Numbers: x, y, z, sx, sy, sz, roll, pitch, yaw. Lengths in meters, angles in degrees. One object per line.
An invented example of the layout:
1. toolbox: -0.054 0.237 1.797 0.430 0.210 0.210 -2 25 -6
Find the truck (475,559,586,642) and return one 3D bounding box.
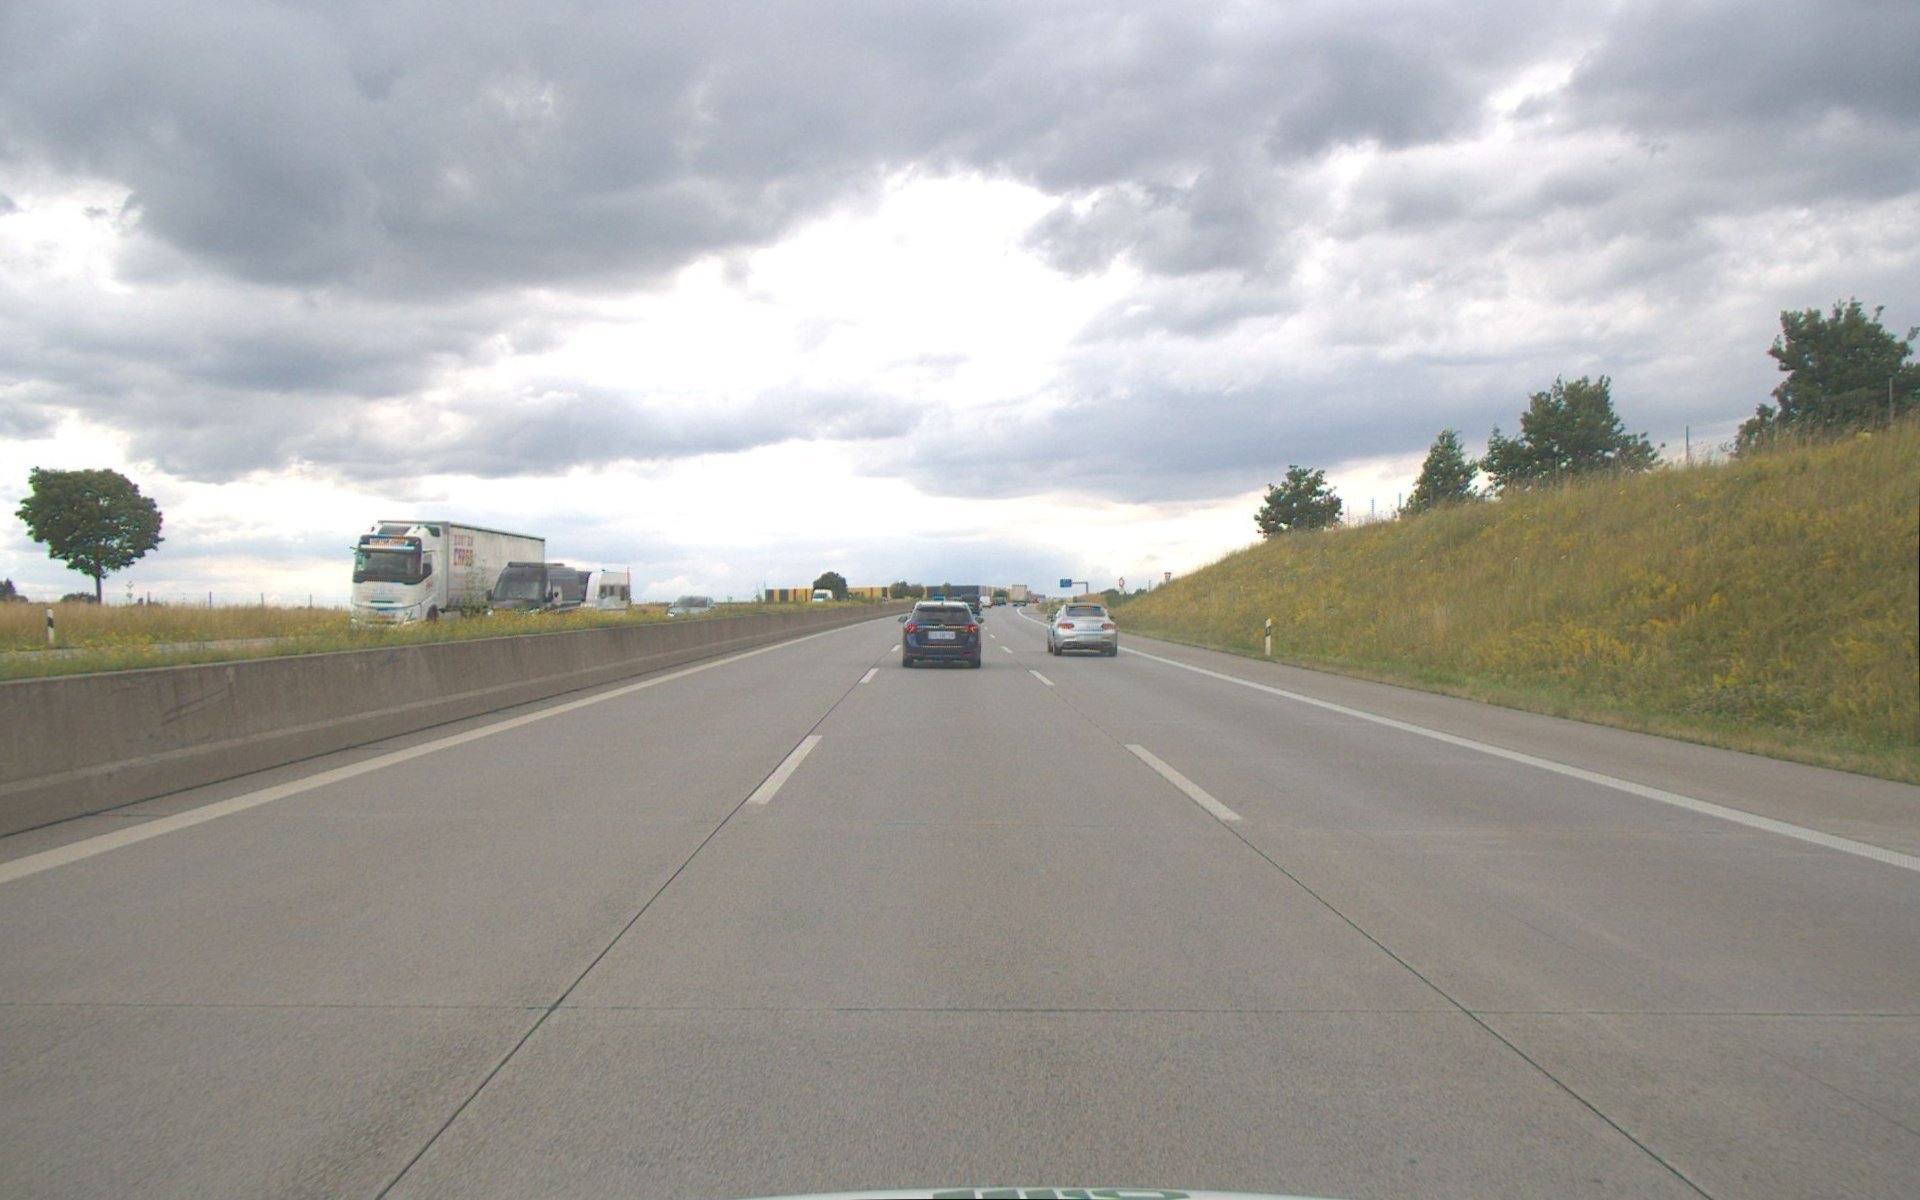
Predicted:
1. truck: -15.233 0.014 59.179 2.205 2.773 7.125 1 0 -1

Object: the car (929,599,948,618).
1. car: -2.421 0.988 185.735 2.005 2.049 3.999 1 -1 -1

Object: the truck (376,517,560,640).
1. truck: -19.219 -0.659 66.021 2.782 4.330 14.566 1 -1 1

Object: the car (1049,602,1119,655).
1. car: 3.467 0.791 46.766 1.752 1.428 4.222 0 0 1

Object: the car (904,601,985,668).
1. car: -0.346 0.753 37.562 1.738 1.438 3.999 0 0 -1

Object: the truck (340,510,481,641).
1. truck: -19.285 -0.772 58.452 2.782 4.330 6.091 1 -1 0

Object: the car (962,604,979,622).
1. car: 1.324 1.604 203.505 1.952 2.049 4.001 2 0 3

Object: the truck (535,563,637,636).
1. truck: -15.243 -0.011 67.848 2.562 2.773 6.919 1 0 0

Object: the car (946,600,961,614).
1. car: -0.937 1.037 243.668 1.954 2.049 3.997 1 -1 -3

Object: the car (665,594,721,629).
1. car: -11.866 0.509 73.820 1.953 1.507 4.210 0 0 -2

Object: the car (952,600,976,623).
1. car: 0.332 1.085 149.955 1.954 2.049 3.997 1 -1 -3

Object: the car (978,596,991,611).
1. car: 3.671 0.534 249.641 1.952 2.049 4.000 1 -1 1
